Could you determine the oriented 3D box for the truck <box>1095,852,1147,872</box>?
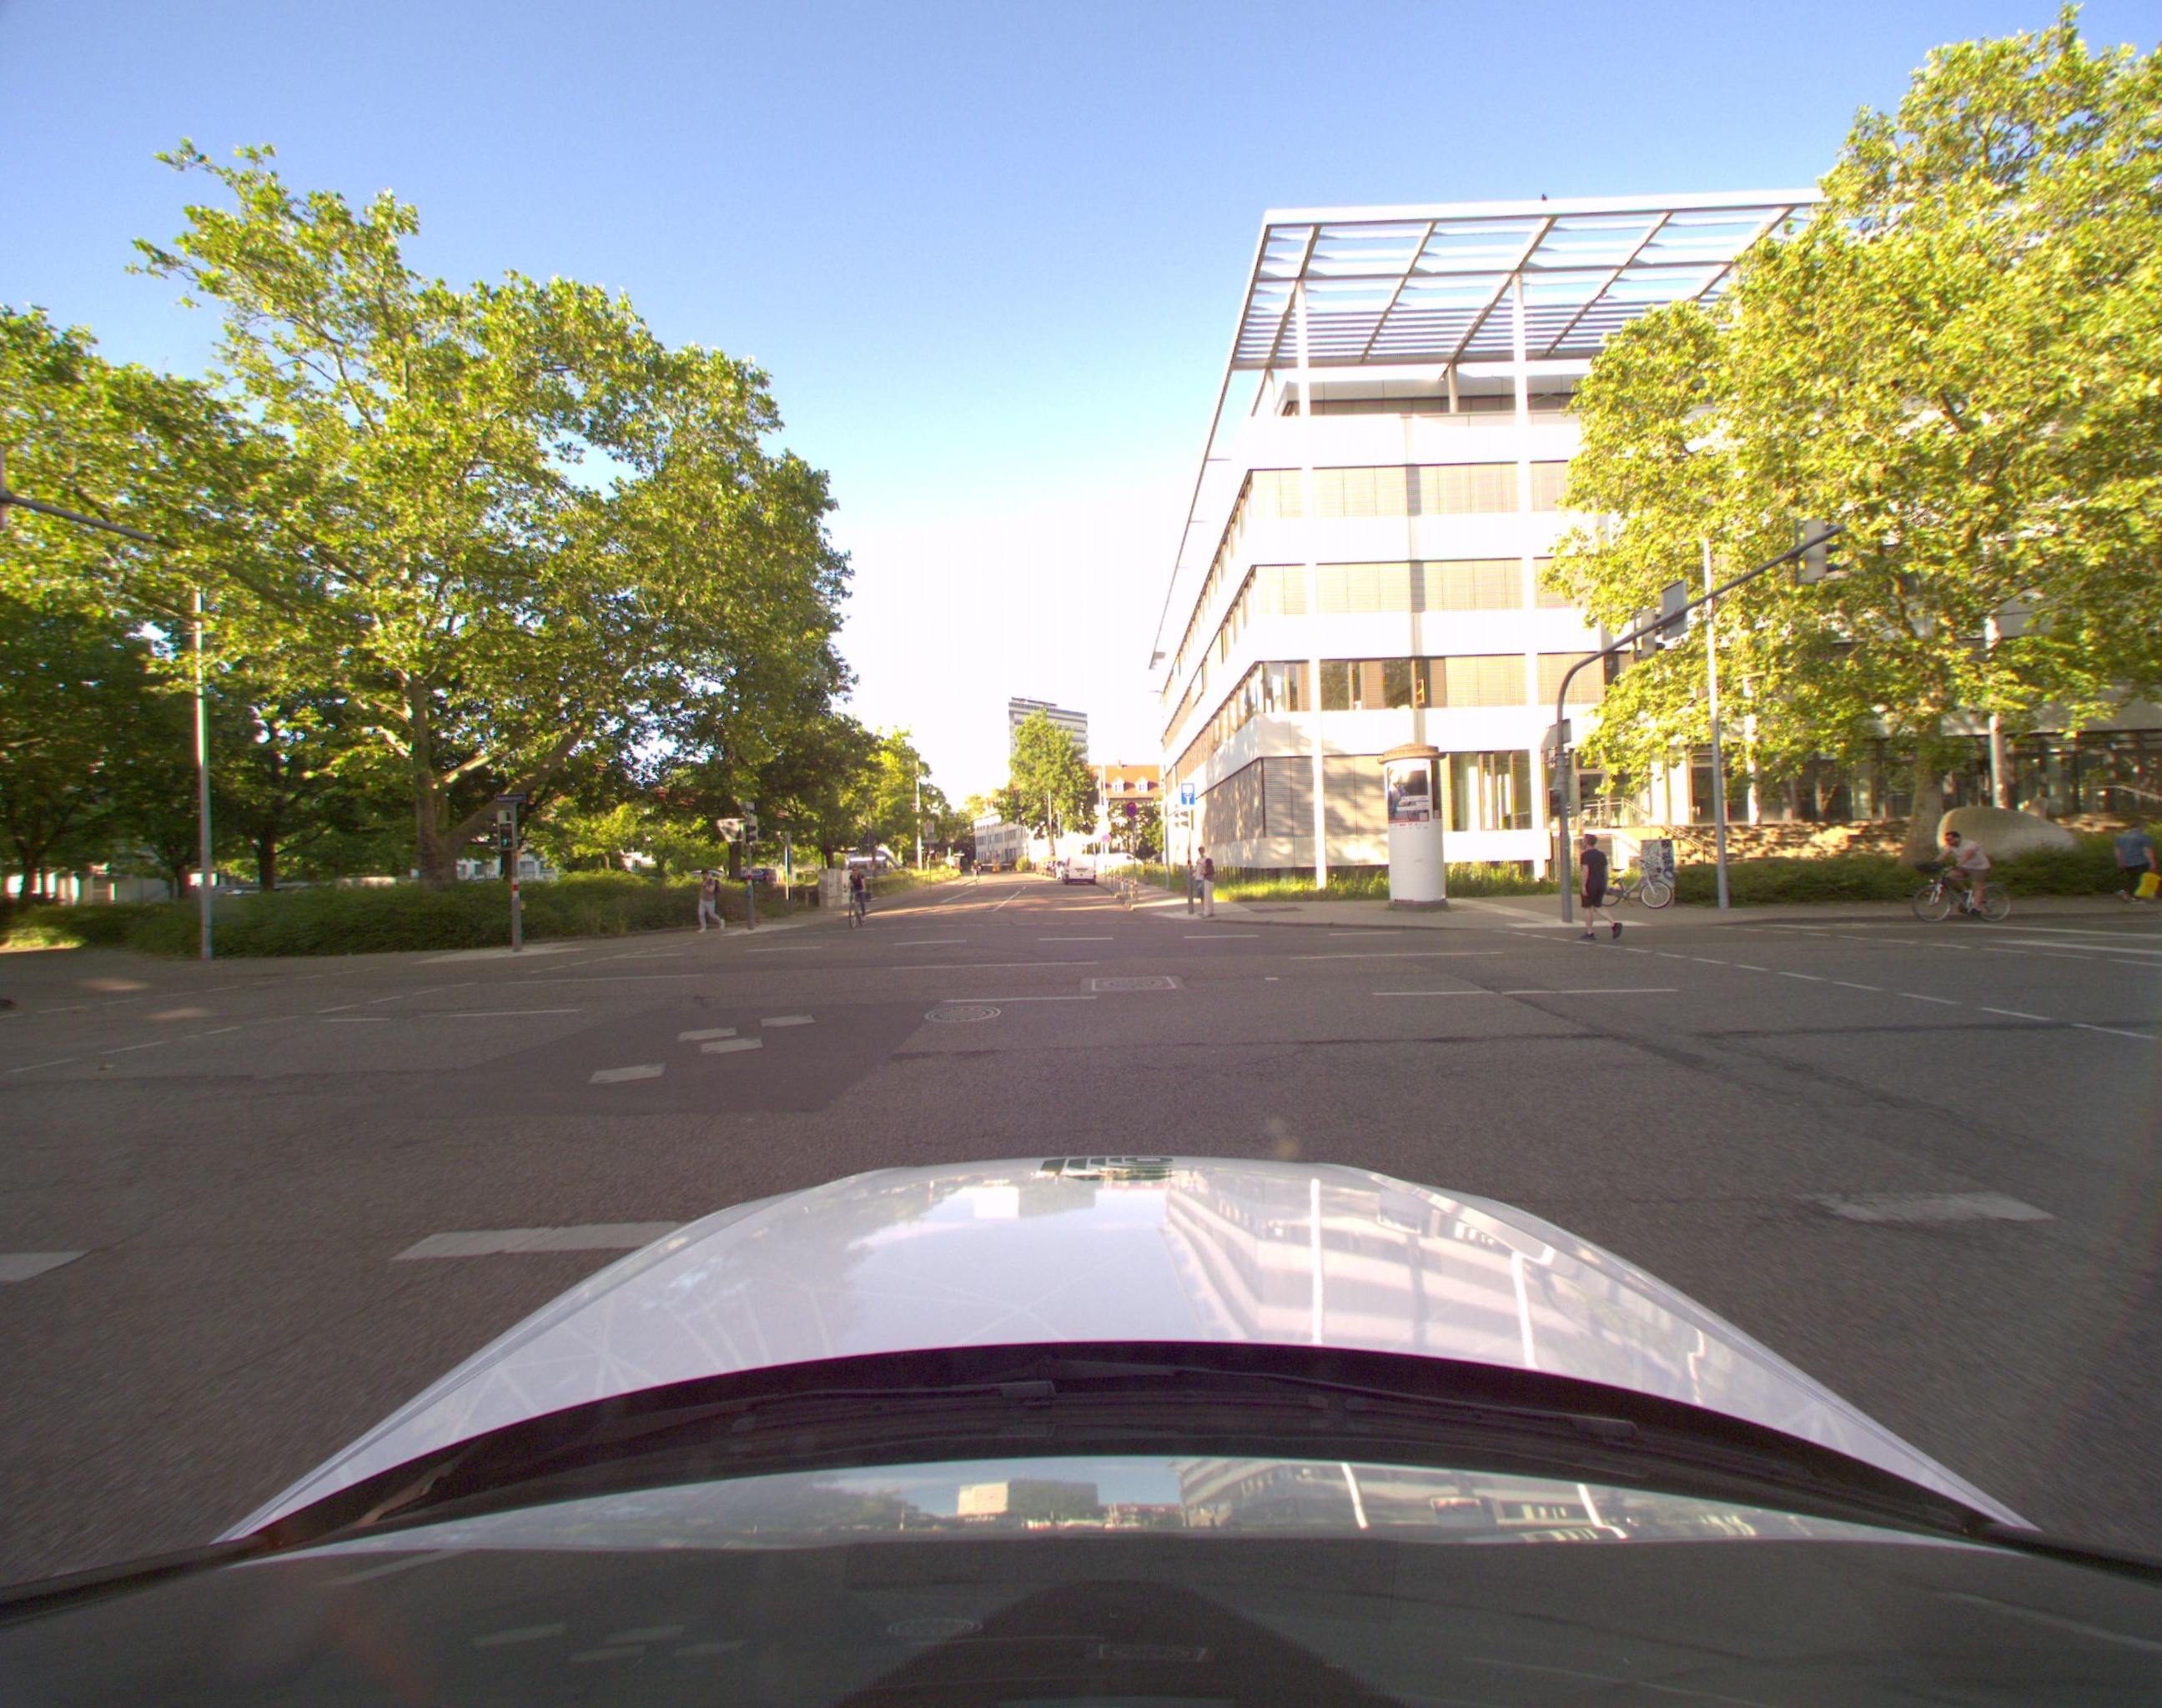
[{"bbox_3d":[4.308,0.864,88.233,5.341,2.014,1.992,-1,-1,-12],"label":"truck"}]

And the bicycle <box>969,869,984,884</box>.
[{"bbox_3d":[-7.467,1.623,58.423,0.864,1.009,2.411,-4,-1,-3],"label":"bicycle"}]

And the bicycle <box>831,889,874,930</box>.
[{"bbox_3d":[-6.097,1.453,21.818,0.614,0.970,1.840,-2,0,-1],"label":"bicycle"}]

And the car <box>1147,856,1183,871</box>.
[{"bbox_3d":[9.129,1.020,88.852,3.557,1.546,1.552,-1,-1,-12],"label":"car"}]

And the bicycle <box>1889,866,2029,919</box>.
[{"bbox_3d":[17.181,0.737,15.956,2.108,0.927,0.730,-2,-1,-6],"label":"bicycle"}]

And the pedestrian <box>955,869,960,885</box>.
[{"bbox_3d":[-12.821,2.370,84.385,0.432,1.608,0.492,-2,-1,-6],"label":"pedestrian"}]

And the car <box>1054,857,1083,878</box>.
[{"bbox_3d":[-0.999,1.033,63.892,1.886,1.555,4.406,-1,0,-6],"label":"car"}]

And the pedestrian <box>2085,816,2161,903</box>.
[{"bbox_3d":[22.402,0.116,17.491,0.833,1.840,0.708,0,0,-4],"label":"pedestrian"}]

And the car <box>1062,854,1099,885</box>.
[{"bbox_3d":[-0.065,0.912,50.190,2.080,1.795,4.411,-1,0,-2],"label":"car"}]

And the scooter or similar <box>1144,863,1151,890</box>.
[{"bbox_3d":[3.545,1.204,43.416,0.329,1.424,1.335,0,-1,2],"label":"scooter or similar"}]

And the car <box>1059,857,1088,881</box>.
[{"bbox_3d":[-0.579,1.021,58.421,1.884,1.555,4.411,-1,0,-2],"label":"car"}]

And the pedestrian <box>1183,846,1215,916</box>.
[{"bbox_3d":[3.259,0.733,22.504,0.554,1.850,0.681,-5,0,23],"label":"pedestrian"}]

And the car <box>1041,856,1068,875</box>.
[{"bbox_3d":[-2.525,1.099,76.882,1.889,1.655,4.398,-1,0,-11],"label":"car"}]

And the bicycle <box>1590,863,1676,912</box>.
[{"bbox_3d":[13.206,0.784,19.528,0.510,1.049,1.672,-3,2,-27],"label":"bicycle"}]

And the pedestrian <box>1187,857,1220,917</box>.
[{"bbox_3d":[3.293,0.886,21.887,0.559,1.540,0.674,-5,0,-11],"label":"pedestrian"}]

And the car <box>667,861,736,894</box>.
[{"bbox_3d":[-30.777,1.889,66.159,4.543,2.391,2.073,-3,-1,-2],"label":"car"}]

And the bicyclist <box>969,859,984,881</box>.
[{"bbox_3d":[-7.493,1.131,58.447,0.864,1.515,1.018,-4,-1,-4],"label":"bicyclist"}]

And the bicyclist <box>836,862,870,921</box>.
[{"bbox_3d":[-6.111,0.980,21.837,0.614,1.532,0.903,-2,-1,-1],"label":"bicyclist"}]

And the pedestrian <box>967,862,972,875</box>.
[{"bbox_3d":[-13.984,1.844,102.150,0.545,1.677,0.474,-2,-1,-10],"label":"pedestrian"}]

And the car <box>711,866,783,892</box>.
[{"bbox_3d":[-25.493,1.910,62.326,4.543,1.730,2.073,-3,-1,-2],"label":"car"}]

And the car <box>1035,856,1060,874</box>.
[{"bbox_3d":[-3.371,1.090,81.518,1.889,1.655,4.398,-1,0,-11],"label":"car"}]

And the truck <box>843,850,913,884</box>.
[{"bbox_3d":[-15.517,0.983,62.414,4.817,2.399,2.085,-1,0,-3],"label":"truck"}]

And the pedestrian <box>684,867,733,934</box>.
[{"bbox_3d":[-9.999,1.233,21.870,0.698,1.723,0.958,-3,-1,11],"label":"pedestrian"}]

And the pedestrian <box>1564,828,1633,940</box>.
[{"bbox_3d":[8.776,0.496,13.846,0.703,1.840,0.839,0,0,7],"label":"pedestrian"}]

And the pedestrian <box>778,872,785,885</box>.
[{"bbox_3d":[-29.800,2.451,81.048,0.559,1.323,0.574,-2,-1,-19],"label":"pedestrian"}]

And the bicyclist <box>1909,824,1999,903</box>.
[{"bbox_3d":[17.081,0.182,15.944,0.951,1.489,0.747,-2,-1,-6],"label":"bicyclist"}]
